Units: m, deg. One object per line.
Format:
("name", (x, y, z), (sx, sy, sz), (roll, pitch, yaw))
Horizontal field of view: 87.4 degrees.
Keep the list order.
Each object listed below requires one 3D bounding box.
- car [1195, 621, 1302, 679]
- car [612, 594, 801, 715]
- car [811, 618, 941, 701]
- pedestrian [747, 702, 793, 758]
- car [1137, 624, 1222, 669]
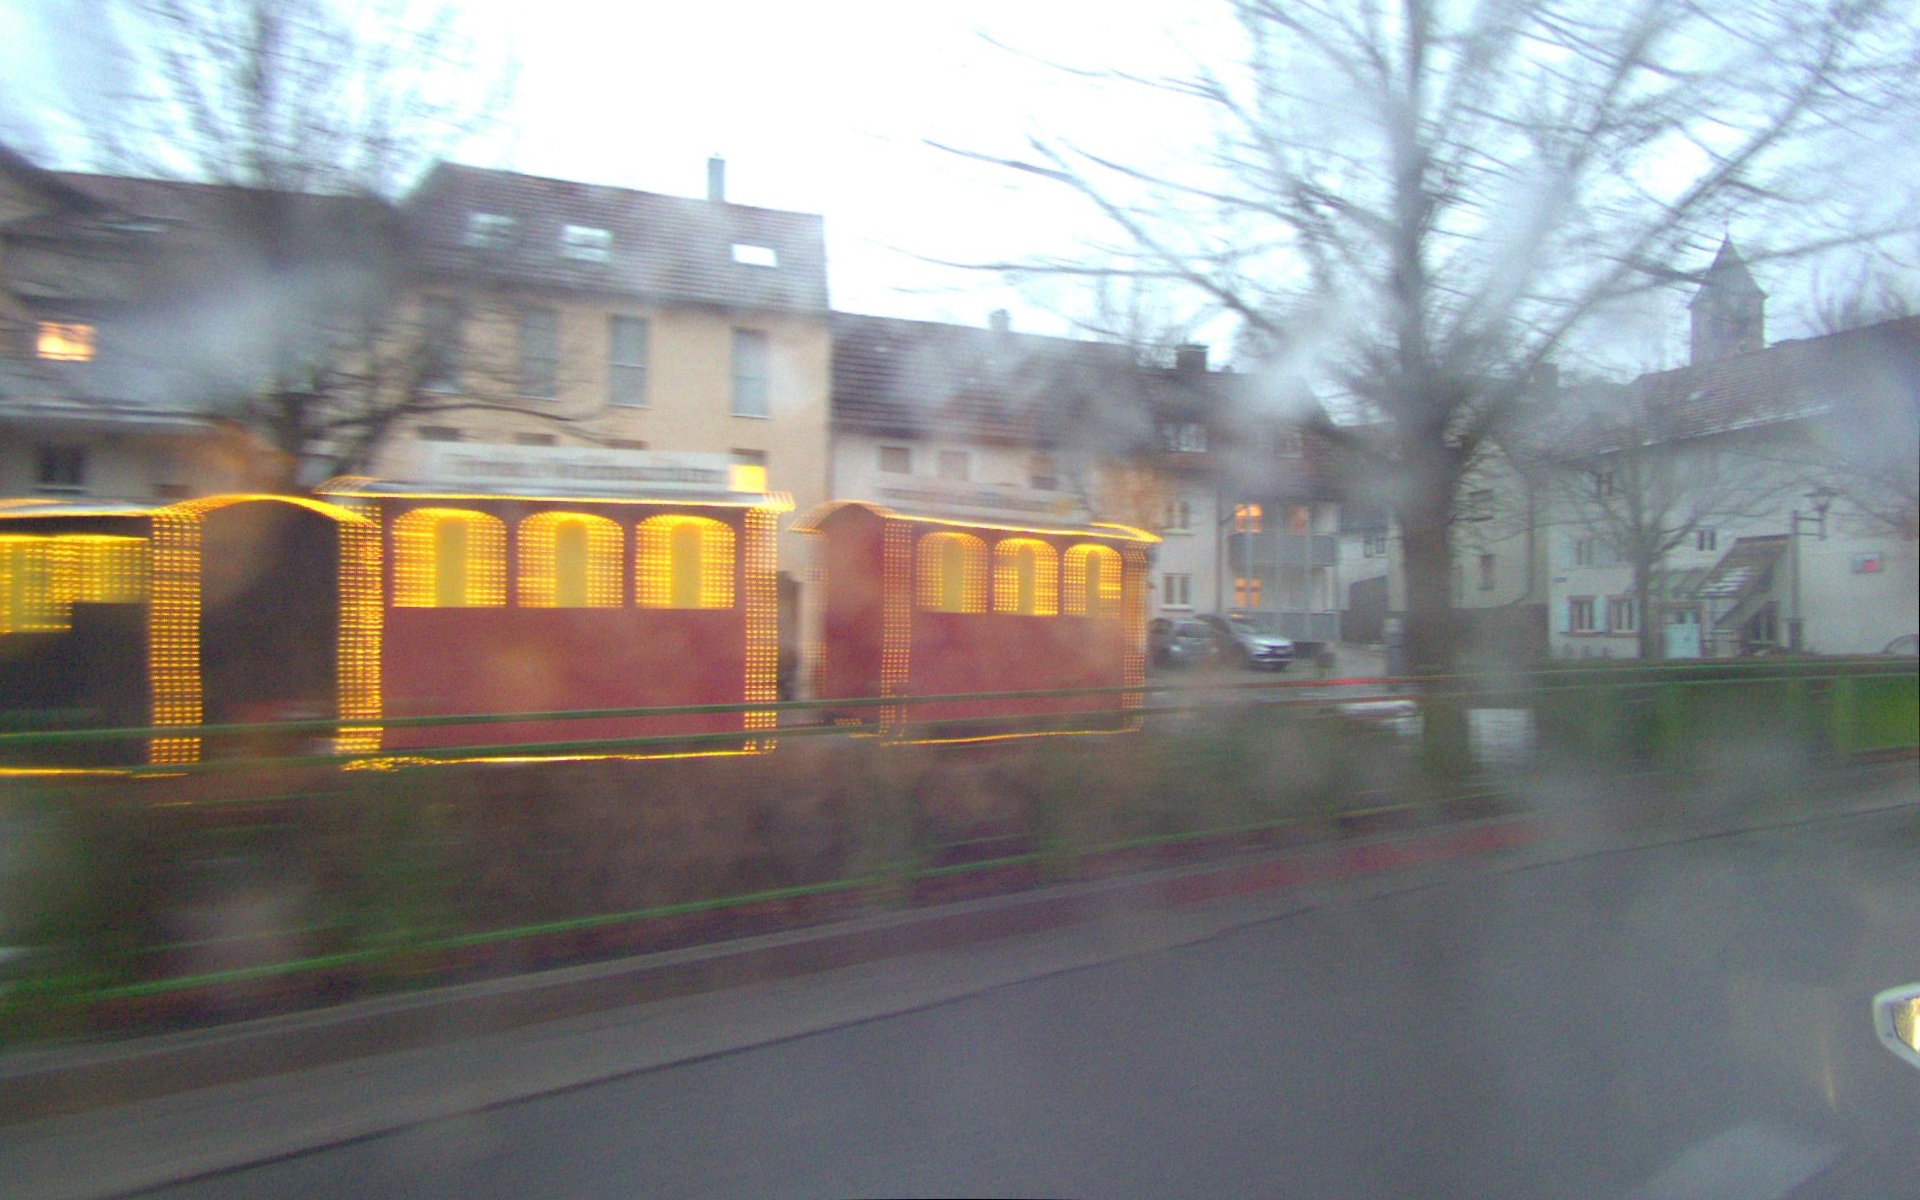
("car", (9.321, 1.581, 32.714), (1.685, 1.634, 3.597), (0, 1, -16))
("car", (-3.760, 0.756, 15.528), (1.578, 1.633, 3.637), (0, 0, 8))
("car", (-1.337, 0.939, 17.080), (1.578, 1.236, 3.057), (0, 0, 8))
("pedestrian", (-1.771, 1.206, 9.365), (0.356, 0.491, 0.293), (1, -3, -25))
("car", (6.981, 1.449, 32.206), (1.502, 1.142, 3.046), (0, 3, -13))
